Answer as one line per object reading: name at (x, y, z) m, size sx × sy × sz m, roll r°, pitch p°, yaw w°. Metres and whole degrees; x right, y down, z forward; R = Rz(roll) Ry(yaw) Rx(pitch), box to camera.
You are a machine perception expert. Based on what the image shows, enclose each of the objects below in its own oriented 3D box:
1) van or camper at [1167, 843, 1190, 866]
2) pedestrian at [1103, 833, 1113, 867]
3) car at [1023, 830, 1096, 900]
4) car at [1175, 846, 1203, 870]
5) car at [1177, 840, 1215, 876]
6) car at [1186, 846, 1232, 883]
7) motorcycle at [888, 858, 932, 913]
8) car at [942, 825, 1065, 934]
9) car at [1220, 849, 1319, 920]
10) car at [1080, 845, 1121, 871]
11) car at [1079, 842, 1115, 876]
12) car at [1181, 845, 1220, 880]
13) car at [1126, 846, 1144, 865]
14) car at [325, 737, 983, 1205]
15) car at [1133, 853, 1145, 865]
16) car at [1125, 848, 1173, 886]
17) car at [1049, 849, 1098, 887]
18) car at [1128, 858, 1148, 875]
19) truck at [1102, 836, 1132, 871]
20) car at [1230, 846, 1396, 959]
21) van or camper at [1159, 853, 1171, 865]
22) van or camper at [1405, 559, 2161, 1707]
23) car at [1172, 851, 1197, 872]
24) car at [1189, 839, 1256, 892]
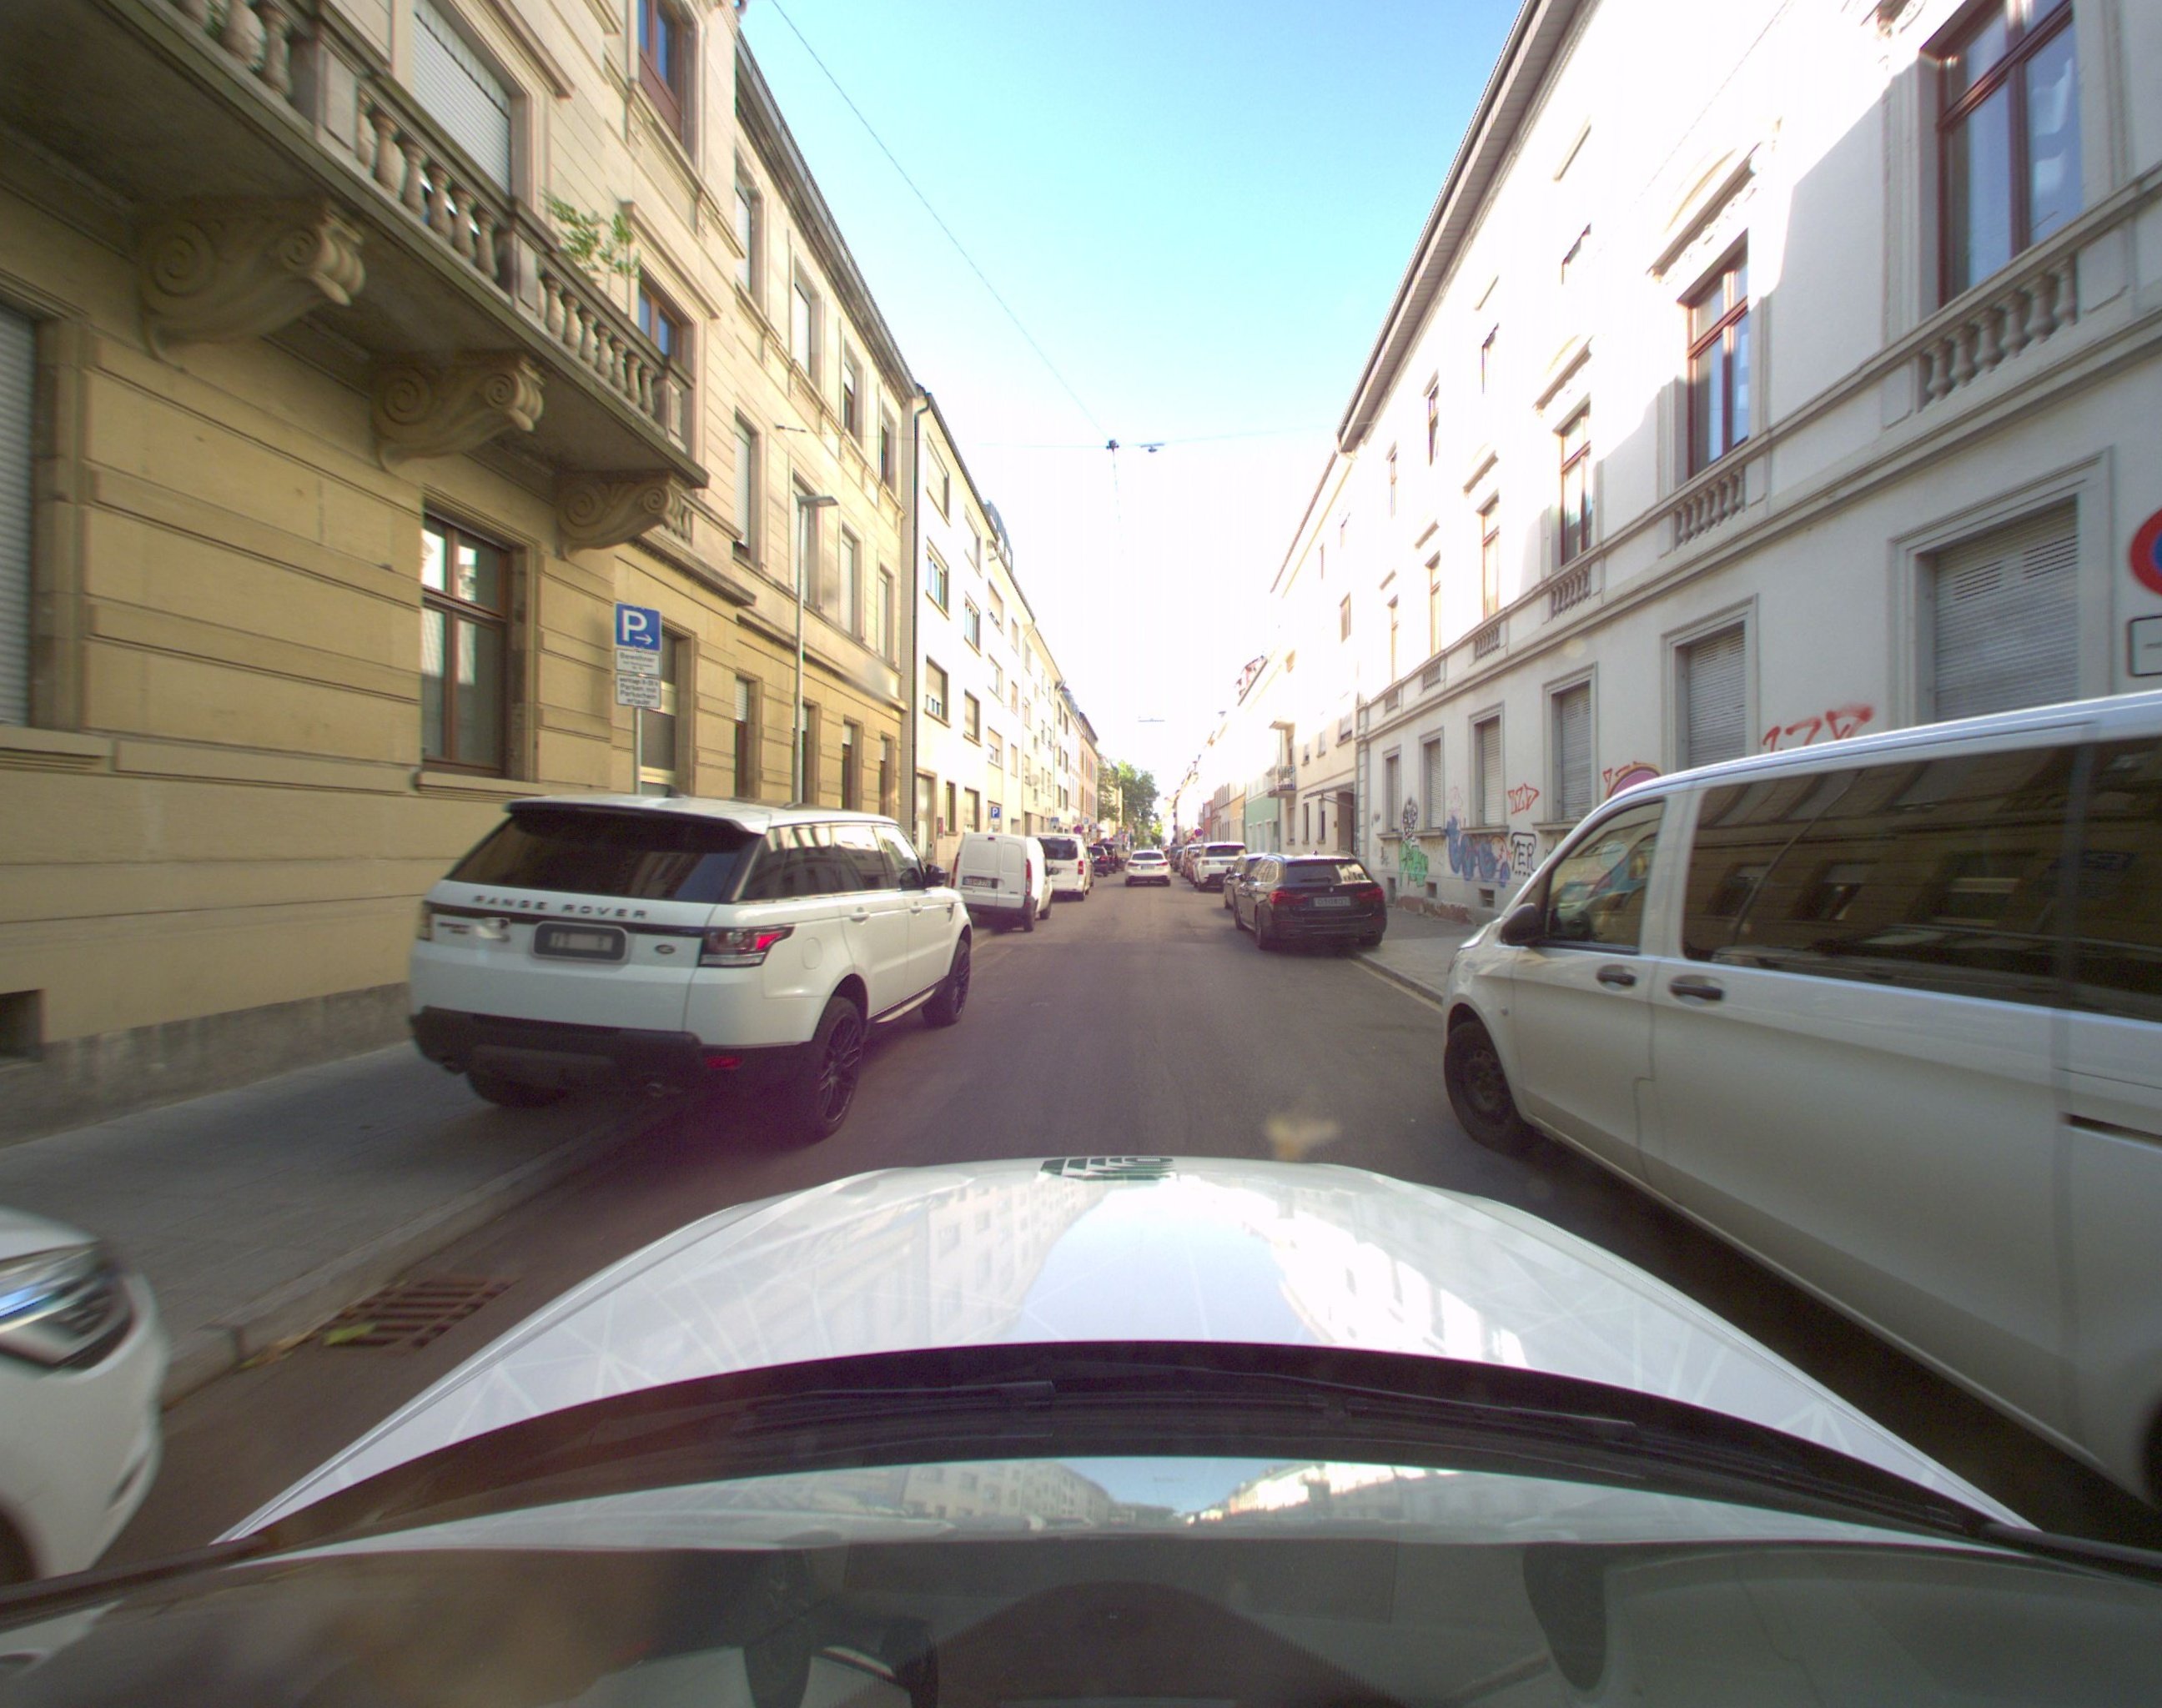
van or camper at (9.039, 0.019, 75.819) m, size 1.768 × 2.036 × 4.573 m, roll -2°, pitch 0°, yaw 3°
pedestrian at (1.787, -0.232, 53.692) m, size 0.616 × 2.229 × 0.689 m, roll -1°, pitch -1°, yaw 5°
car at (-0.565, 0.289, 25.813) m, size 1.886 × 1.958 × 4.785 m, roll 2°, pitch 1°, yaw 3°
car at (7.496, 0.273, 56.900) m, size 1.731 × 1.577 × 4.383 m, roll 0°, pitch 1°, yaw 5°
car at (6.430, 0.221, 45.835) m, size 1.774 × 1.961 × 4.340 m, roll 0°, pitch 0°, yaw 4°
car at (5.640, 0.422, 36.201) m, size 1.734 × 1.568 × 4.037 m, roll 0°, pitch 1°, yaw 4°
motorcycle at (-3.929, 0.691, 18.835) m, size 0.431 × 1.185 × 2.124 m, roll 0°, pitch 0°, yaw 4°
car at (-1.464, 0.435, 16.907) m, size 1.736 × 1.876 × 4.095 m, roll 4°, pitch 1°, yaw 5°
car at (4.407, 0.640, 19.521) m, size 1.738 × 1.448 × 3.875 m, roll 2°, pitch 1°, yaw 5°
car at (1.415, 0.277, 56.298) m, size 2.430 × 1.706 × 5.249 m, roll 0°, pitch 0°, yaw 5°
car at (0.940, 0.248, 47.401) m, size 1.873 × 1.755 × 4.544 m, roll 3°, pitch 1°, yaw 1°
car at (5.962, 0.384, 40.979) m, size 1.574 × 1.632 × 3.684 m, roll 1°, pitch 0°, yaw 2°
car at (5.202, 0.144, 79.111) m, size 1.640 × 1.867 × 4.002 m, roll 0°, pitch 0°, yaw 2°
car at (-2.174, 0.496, 5.836) m, size 2.012 × 2.013 × 4.549 m, roll 0°, pitch 0°, yaw 5°
car at (8.308, 0.728, 116.146) m, size 1.617 × 1.597 × 3.585 m, roll 1°, pitch 0°, yaw 5°
car at (2.852, 0.510, 33.555) m, size 1.825 × 1.486 × 4.064 m, roll 0°, pitch 0°, yaw 6°
car at (-0.234, 0.528, 33.615) m, size 1.699 × 1.450 × 4.306 m, roll 1°, pitch 0°, yaw 4°
car at (5.201, 1.084, 74.640) m, size 1.750 × 1.415 × 4.004 m, roll -2°, pitch 0°, yaw 4°
truck at (2.769, 0.021, 63.982) m, size 2.149 × 2.590 × 6.249 m, roll -1°, pitch -1°, yaw 0°
car at (3.710, 0.660, 13.891) m, size 1.806 × 1.519 × 4.734 m, roll 2°, pitch 1°, yaw 5°
van or camper at (14.351, 0.858, 138.745) m, size 1.984 × 1.926 × 4.005 m, roll -1°, pitch -1°, yaw 5°
van or camper at (2.885, 0.478, 2.695) m, size 1.886 × 2.013 × 5.036 m, roll 0°, pitch 1°, yaw 3°
car at (7.977, 0.561, 62.908) m, size 1.734 × 1.568 × 4.037 m, roll 0°, pitch 1°, yaw 4°
car at (5.084, 0.346, 29.844) m, size 1.996 × 1.783 × 4.945 m, roll 0°, pitch 1°, yaw 5°
